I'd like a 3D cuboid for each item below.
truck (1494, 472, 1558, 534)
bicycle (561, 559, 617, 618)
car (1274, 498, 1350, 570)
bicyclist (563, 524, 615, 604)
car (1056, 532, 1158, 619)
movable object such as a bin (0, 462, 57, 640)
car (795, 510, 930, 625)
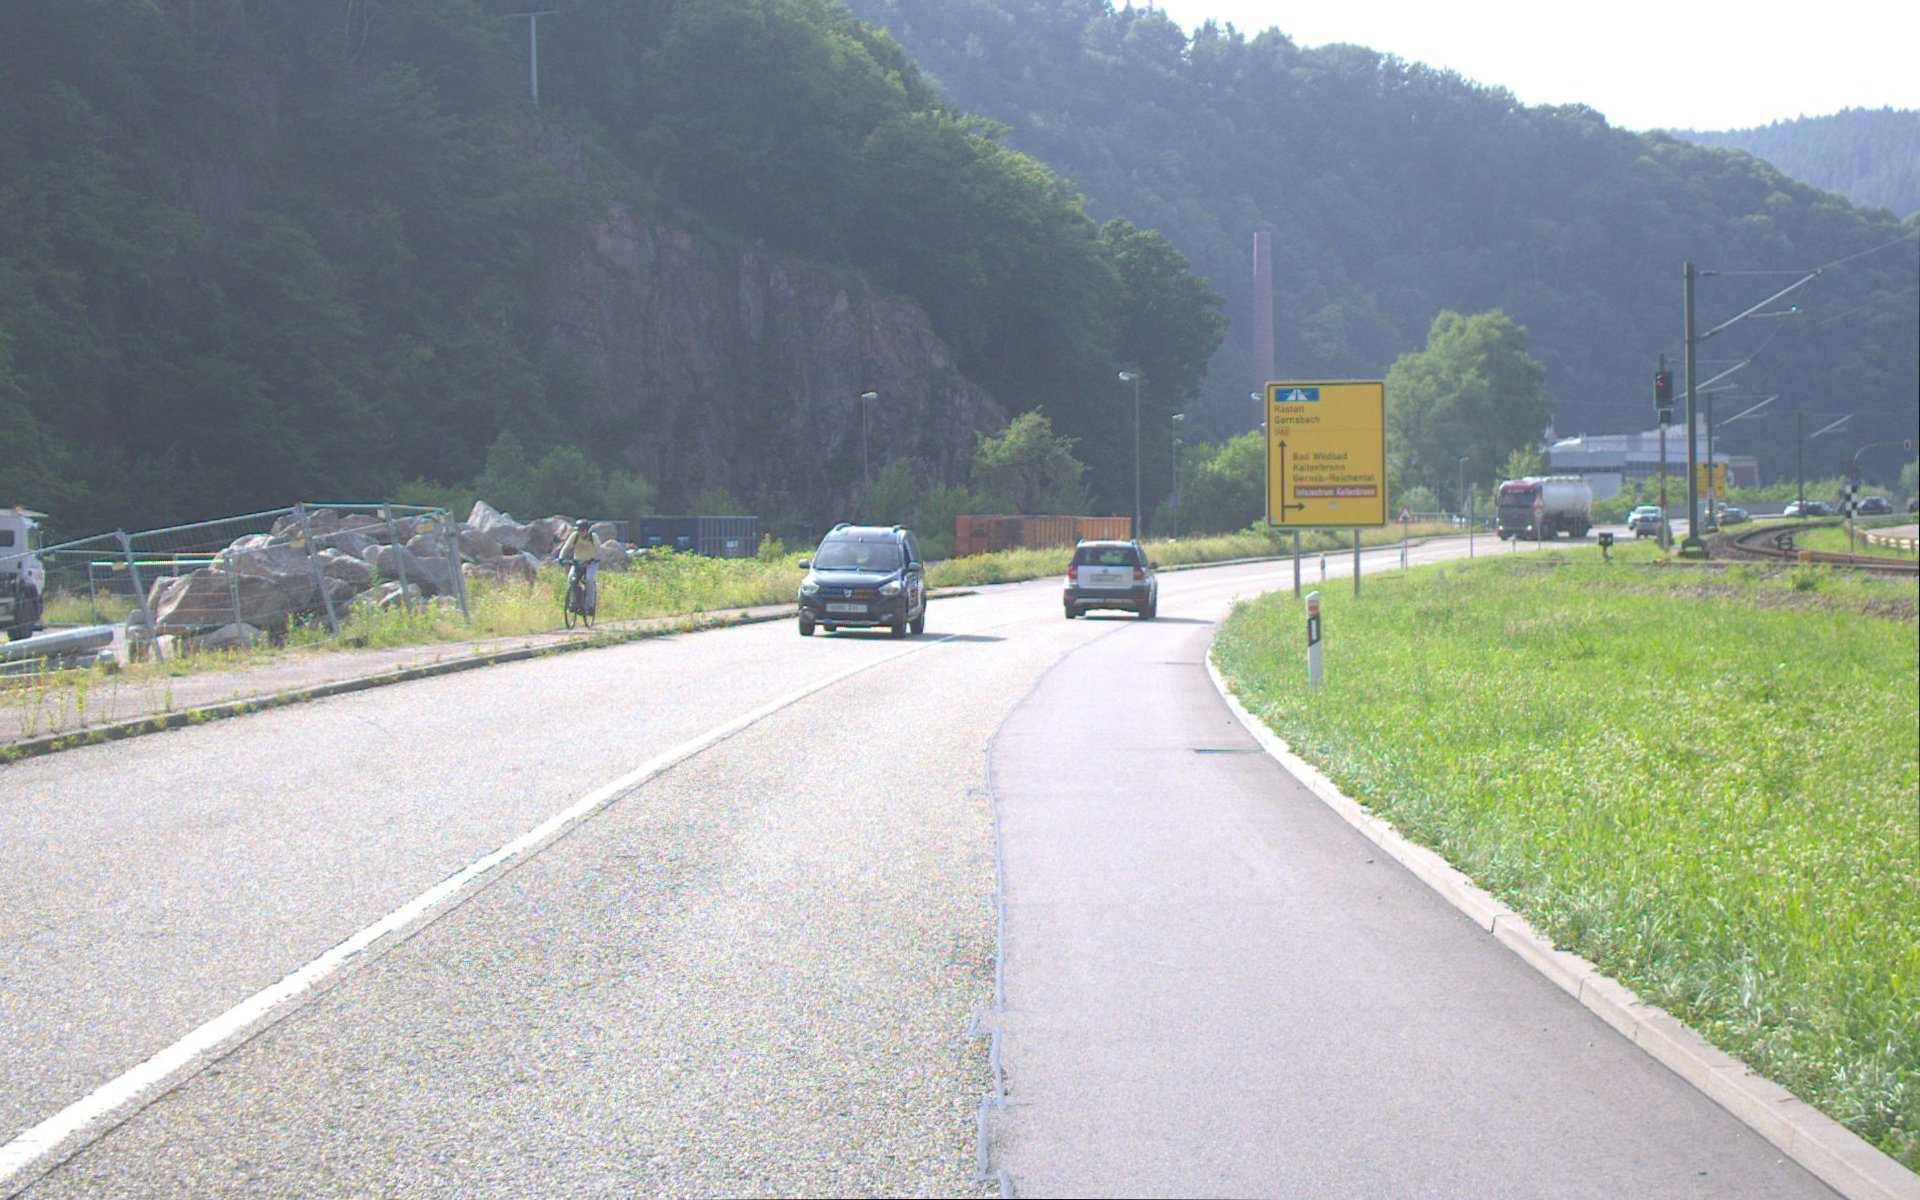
[{"bbox_3d":[35.867,-6.119,217.687,2.752,3.822,8.191,1,2,18],"label":"truck"},{"bbox_3d":[-5.791,-0.188,53.750,0.539,0.878,2.253,1,1,2],"label":"bicycle"},{"bbox_3d":[10.443,-1.964,102.245,1.994,2.007,4.000,-2,1,4],"label":"car"},{"bbox_3d":[-5.797,-0.565,53.736,0.684,1.220,0.858,1,1,2],"label":"bicyclist"},{"bbox_3d":[3.147,-0.551,72.745,1.994,1.717,3.990,-2,1,4],"label":"car"},{"bbox_3d":[-22.652,-1.048,76.341,2.898,3.934,7.809,-2,1,1],"label":"movable object such as a bin"},{"bbox_3d":[-1.565,-0.557,56.867,1.851,1.778,4.684,1,1,3],"label":"car"}]
